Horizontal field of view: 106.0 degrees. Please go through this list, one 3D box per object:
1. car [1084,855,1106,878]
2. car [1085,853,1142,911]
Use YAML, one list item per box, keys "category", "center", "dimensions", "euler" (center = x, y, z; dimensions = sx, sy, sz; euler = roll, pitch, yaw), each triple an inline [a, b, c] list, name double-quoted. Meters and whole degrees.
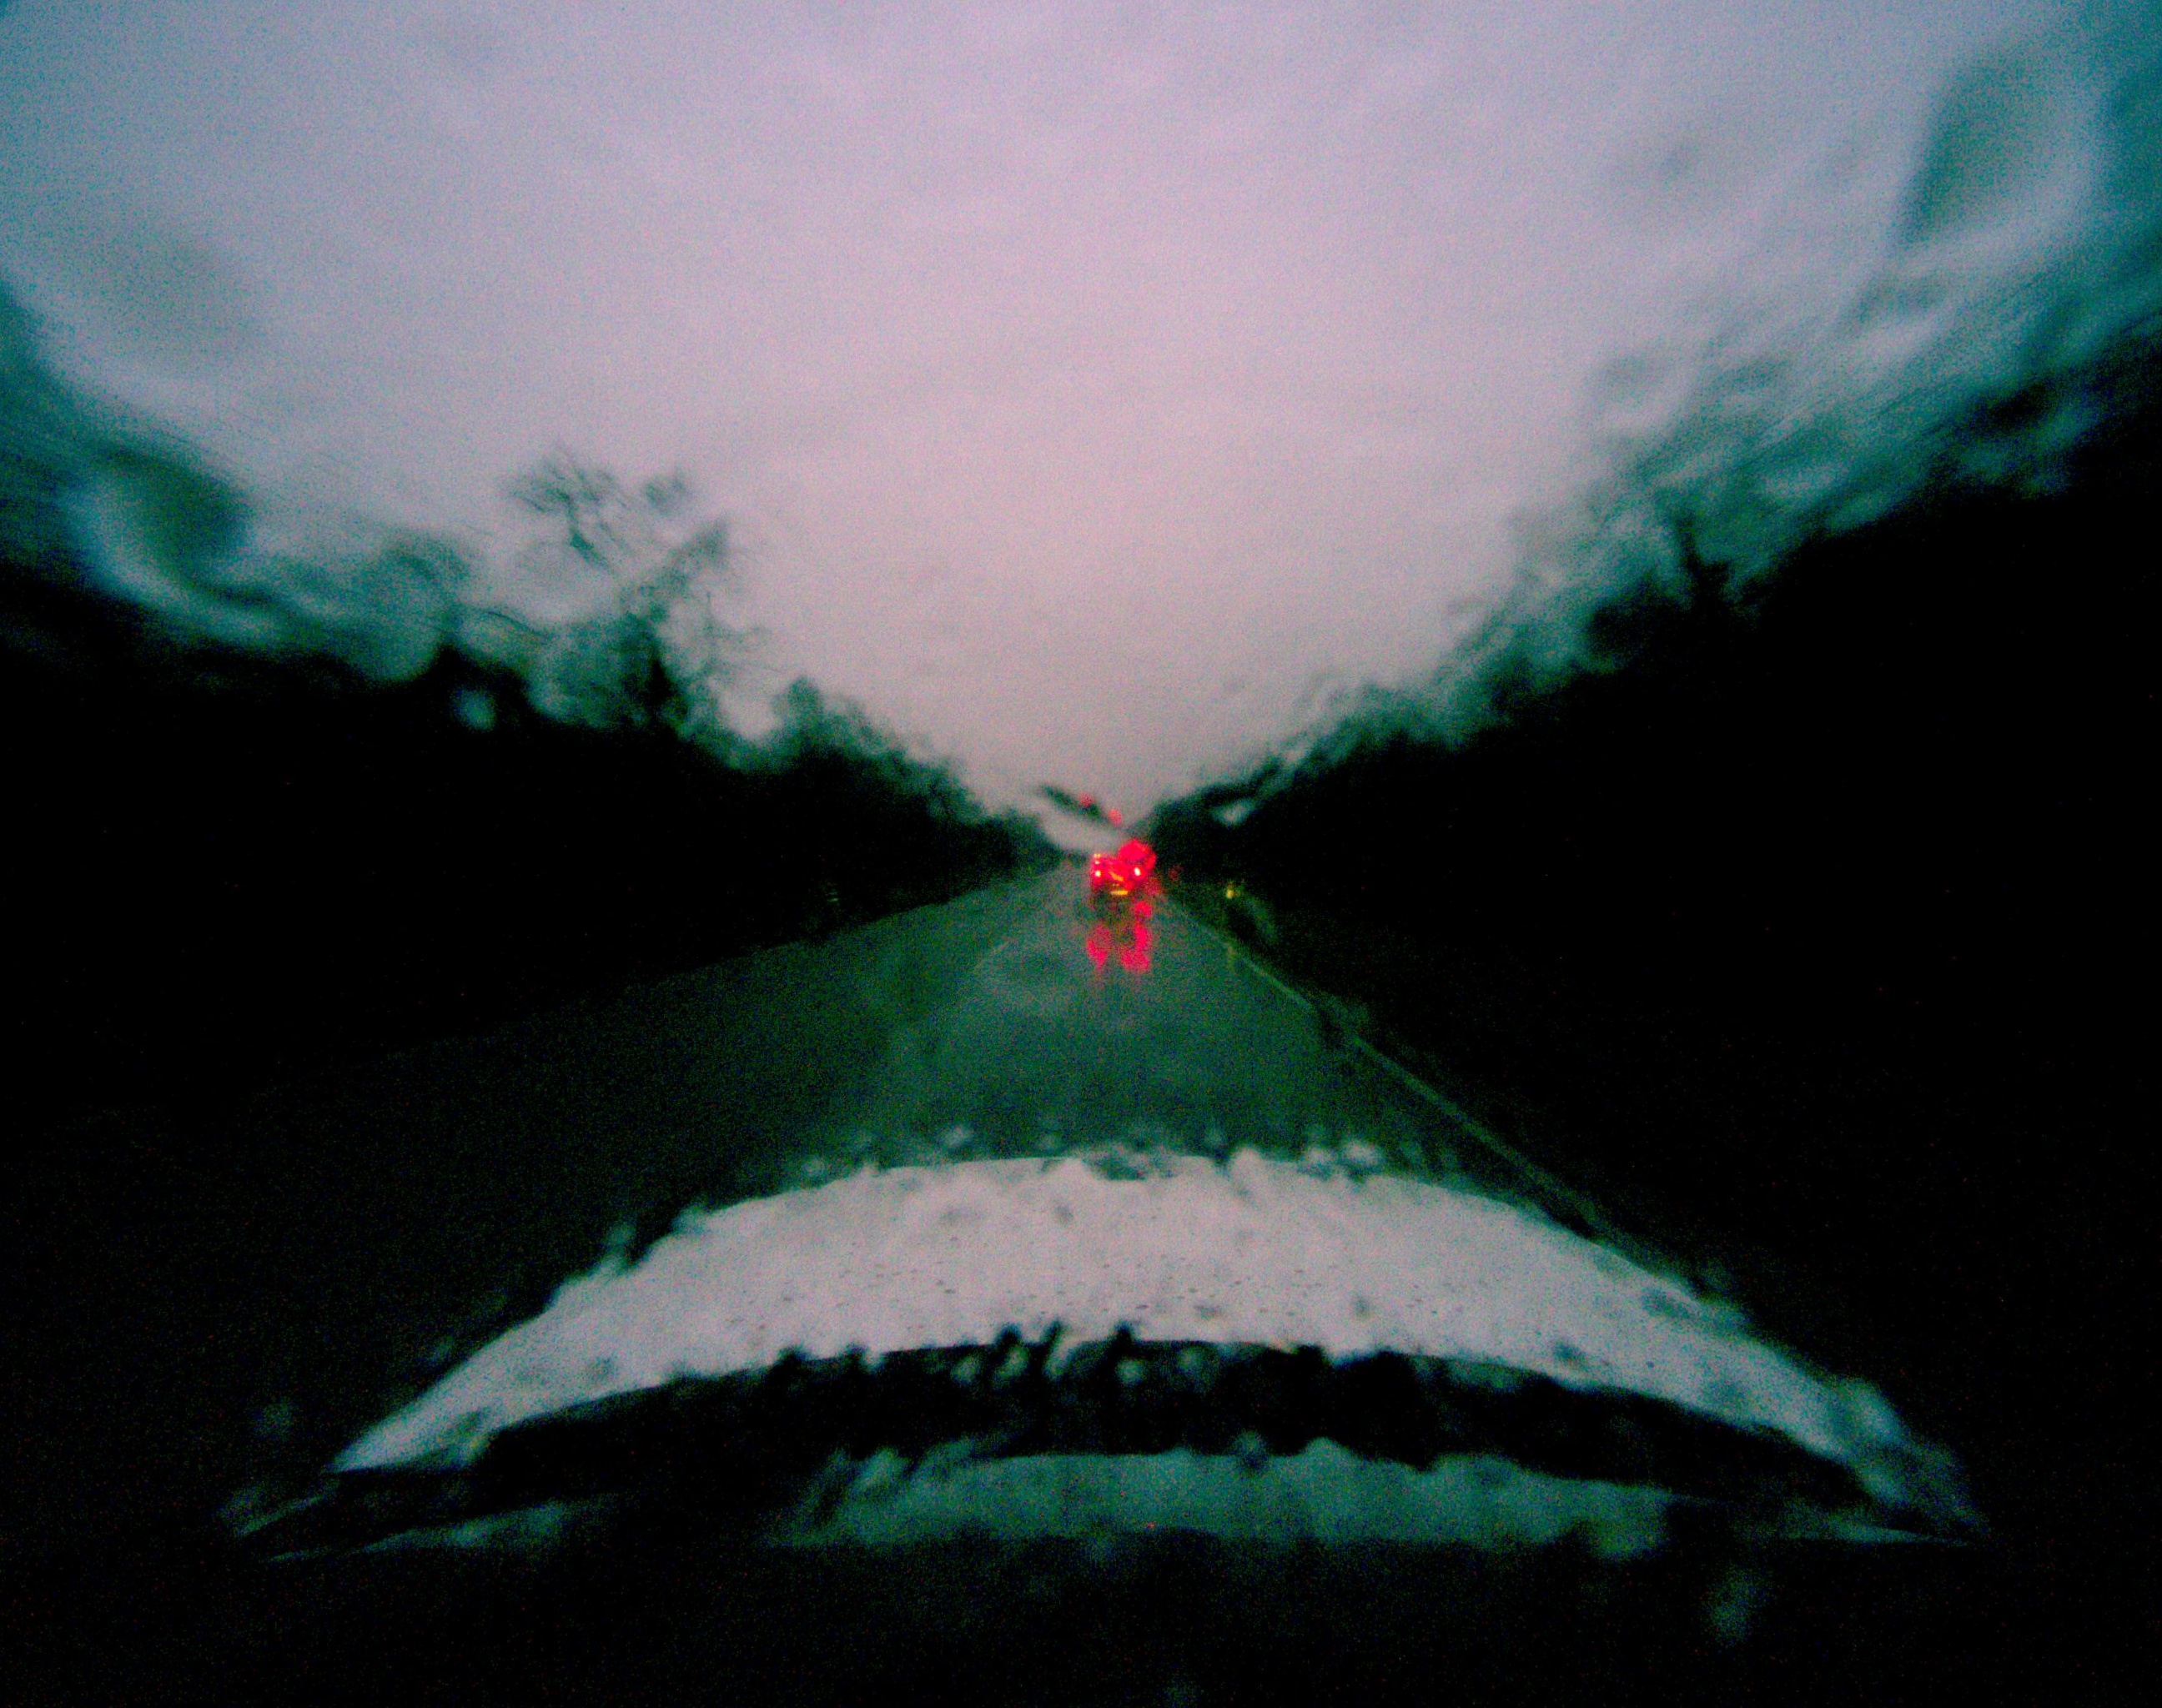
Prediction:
- category: "car"
  center: [1.130, 1.002, 65.259]
  dimensions: [1.727, 1.779, 4.001]
  euler: [0, 0, 1]
- category: "car"
  center: [1.008, 0.824, 25.460]
  dimensions: [1.642, 1.672, 3.515]
  euler: [0, 0, 2]
